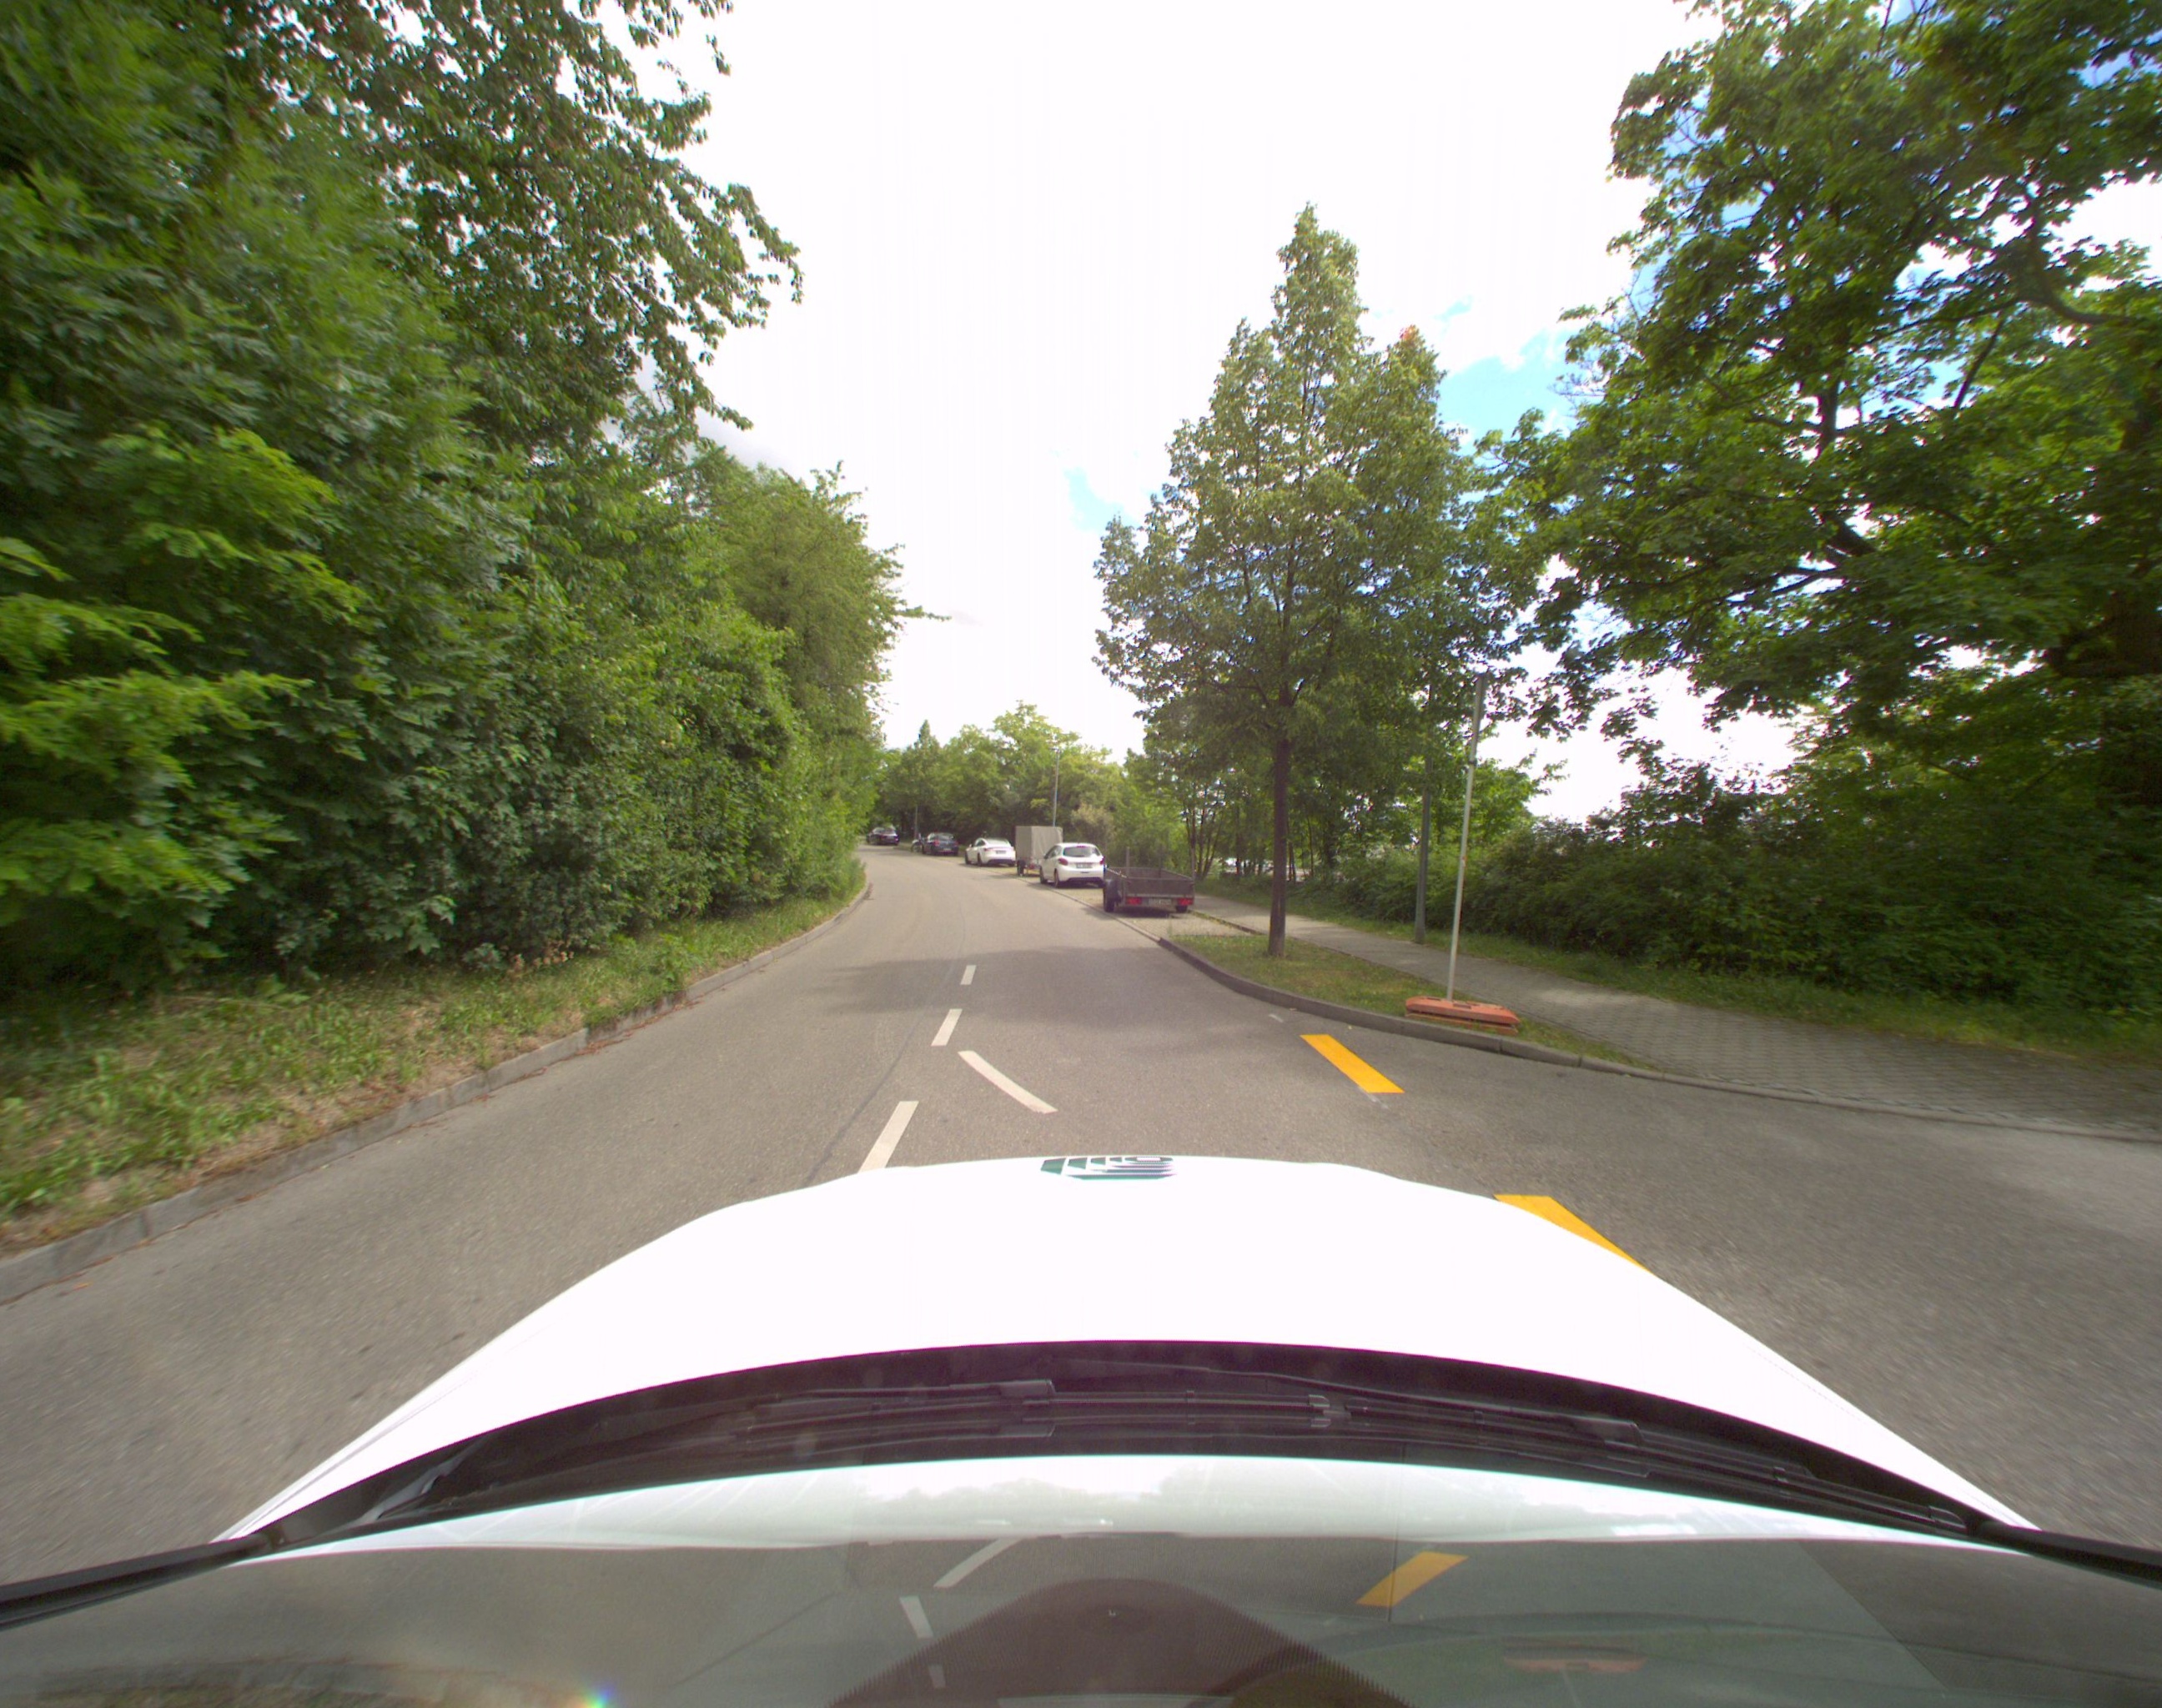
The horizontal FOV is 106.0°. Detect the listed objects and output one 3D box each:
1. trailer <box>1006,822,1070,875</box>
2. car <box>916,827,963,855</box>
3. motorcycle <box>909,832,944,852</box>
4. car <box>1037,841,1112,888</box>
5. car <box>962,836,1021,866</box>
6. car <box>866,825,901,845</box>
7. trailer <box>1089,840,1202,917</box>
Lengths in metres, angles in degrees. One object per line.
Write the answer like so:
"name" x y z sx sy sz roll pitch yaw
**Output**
"trailer" -1.880 -0.281 34.344 1.745 2.111 3.976 0 2 -18
"car" -9.297 -0.907 53.169 1.896 1.686 4.315 -2 3 -26
"motorcycle" -10.713 -0.844 56.433 2.152 1.265 1.074 1 4 13
"car" -0.292 0.296 28.012 1.771 1.411 3.984 0 2 -13
"car" -4.689 -0.187 42.105 1.894 1.376 4.320 1 2 -22
"car" -16.242 -1.595 66.812 1.852 1.516 3.965 0 2 -28
"trailer" 1.361 0.477 18.831 1.783 1.525 3.990 1 2 -8
